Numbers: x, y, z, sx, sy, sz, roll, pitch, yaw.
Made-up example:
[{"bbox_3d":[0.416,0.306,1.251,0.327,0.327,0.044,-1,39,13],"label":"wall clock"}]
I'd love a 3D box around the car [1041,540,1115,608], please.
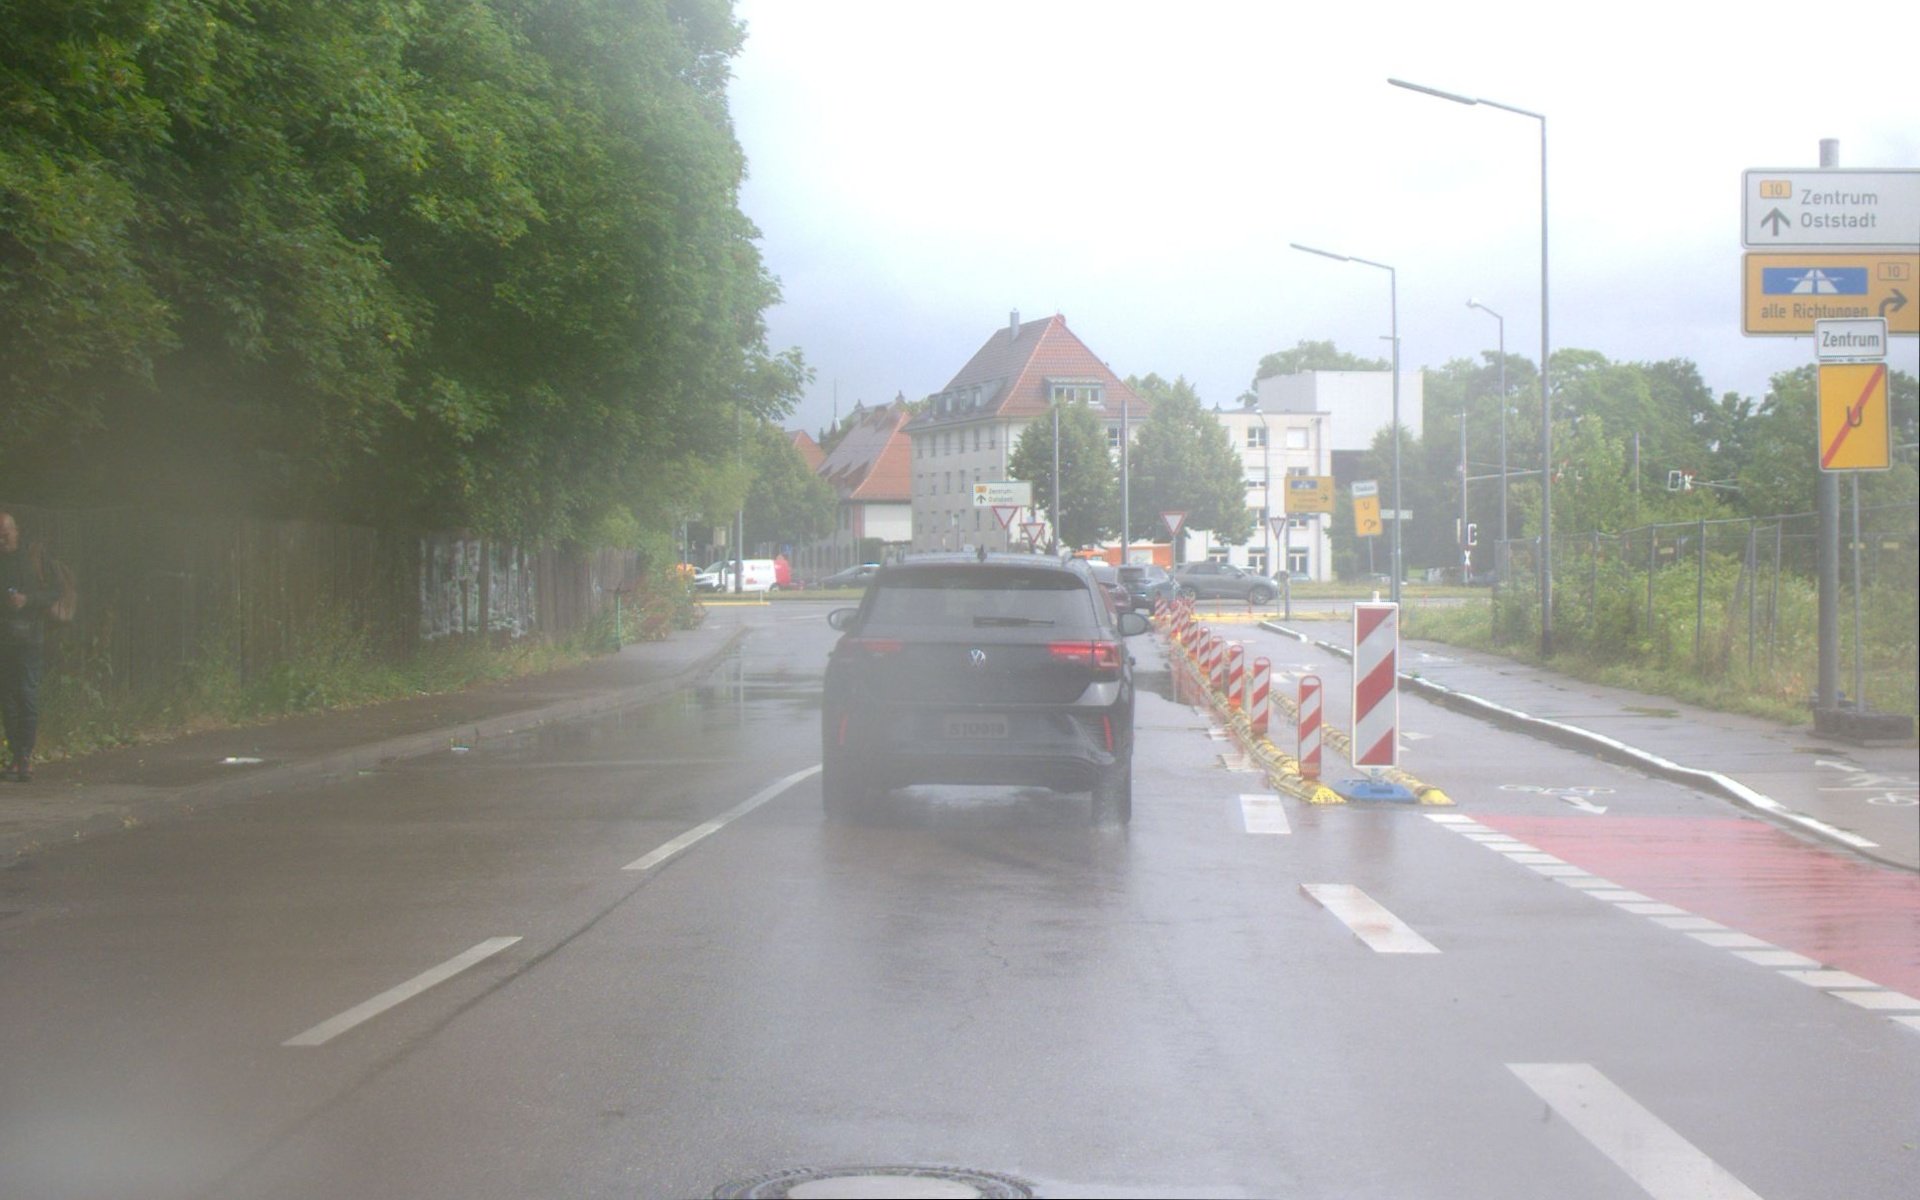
[{"bbox_3d":[3.192,-0.733,93.589,1.864,1.803,4.404,0,1,0],"label":"car"}]

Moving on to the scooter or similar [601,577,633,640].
[{"bbox_3d":[-6.381,0.150,63.982,0.562,1.158,1.208,0,0,-5],"label":"scooter or similar"}]

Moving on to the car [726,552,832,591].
[{"bbox_3d":[-8.950,-1.433,170.169,5.117,1.870,1.894,-1,1,-38],"label":"car"}]

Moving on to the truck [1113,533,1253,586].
[{"bbox_3d":[11.387,-2.087,175.716,7.067,2.641,2.329,0,1,4],"label":"truck"}]

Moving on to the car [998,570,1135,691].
[{"bbox_3d":[1.372,0.375,45.513,1.735,1.509,3.604,0,1,1],"label":"car"}]

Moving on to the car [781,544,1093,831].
[{"bbox_3d":[-0.139,0.474,20.913,1.708,1.568,3.683,1,0,0],"label":"car"}]

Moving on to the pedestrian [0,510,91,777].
[{"bbox_3d":[-6.369,0.290,23.133,0.839,1.763,0.644,-1,0,3],"label":"pedestrian"}]
